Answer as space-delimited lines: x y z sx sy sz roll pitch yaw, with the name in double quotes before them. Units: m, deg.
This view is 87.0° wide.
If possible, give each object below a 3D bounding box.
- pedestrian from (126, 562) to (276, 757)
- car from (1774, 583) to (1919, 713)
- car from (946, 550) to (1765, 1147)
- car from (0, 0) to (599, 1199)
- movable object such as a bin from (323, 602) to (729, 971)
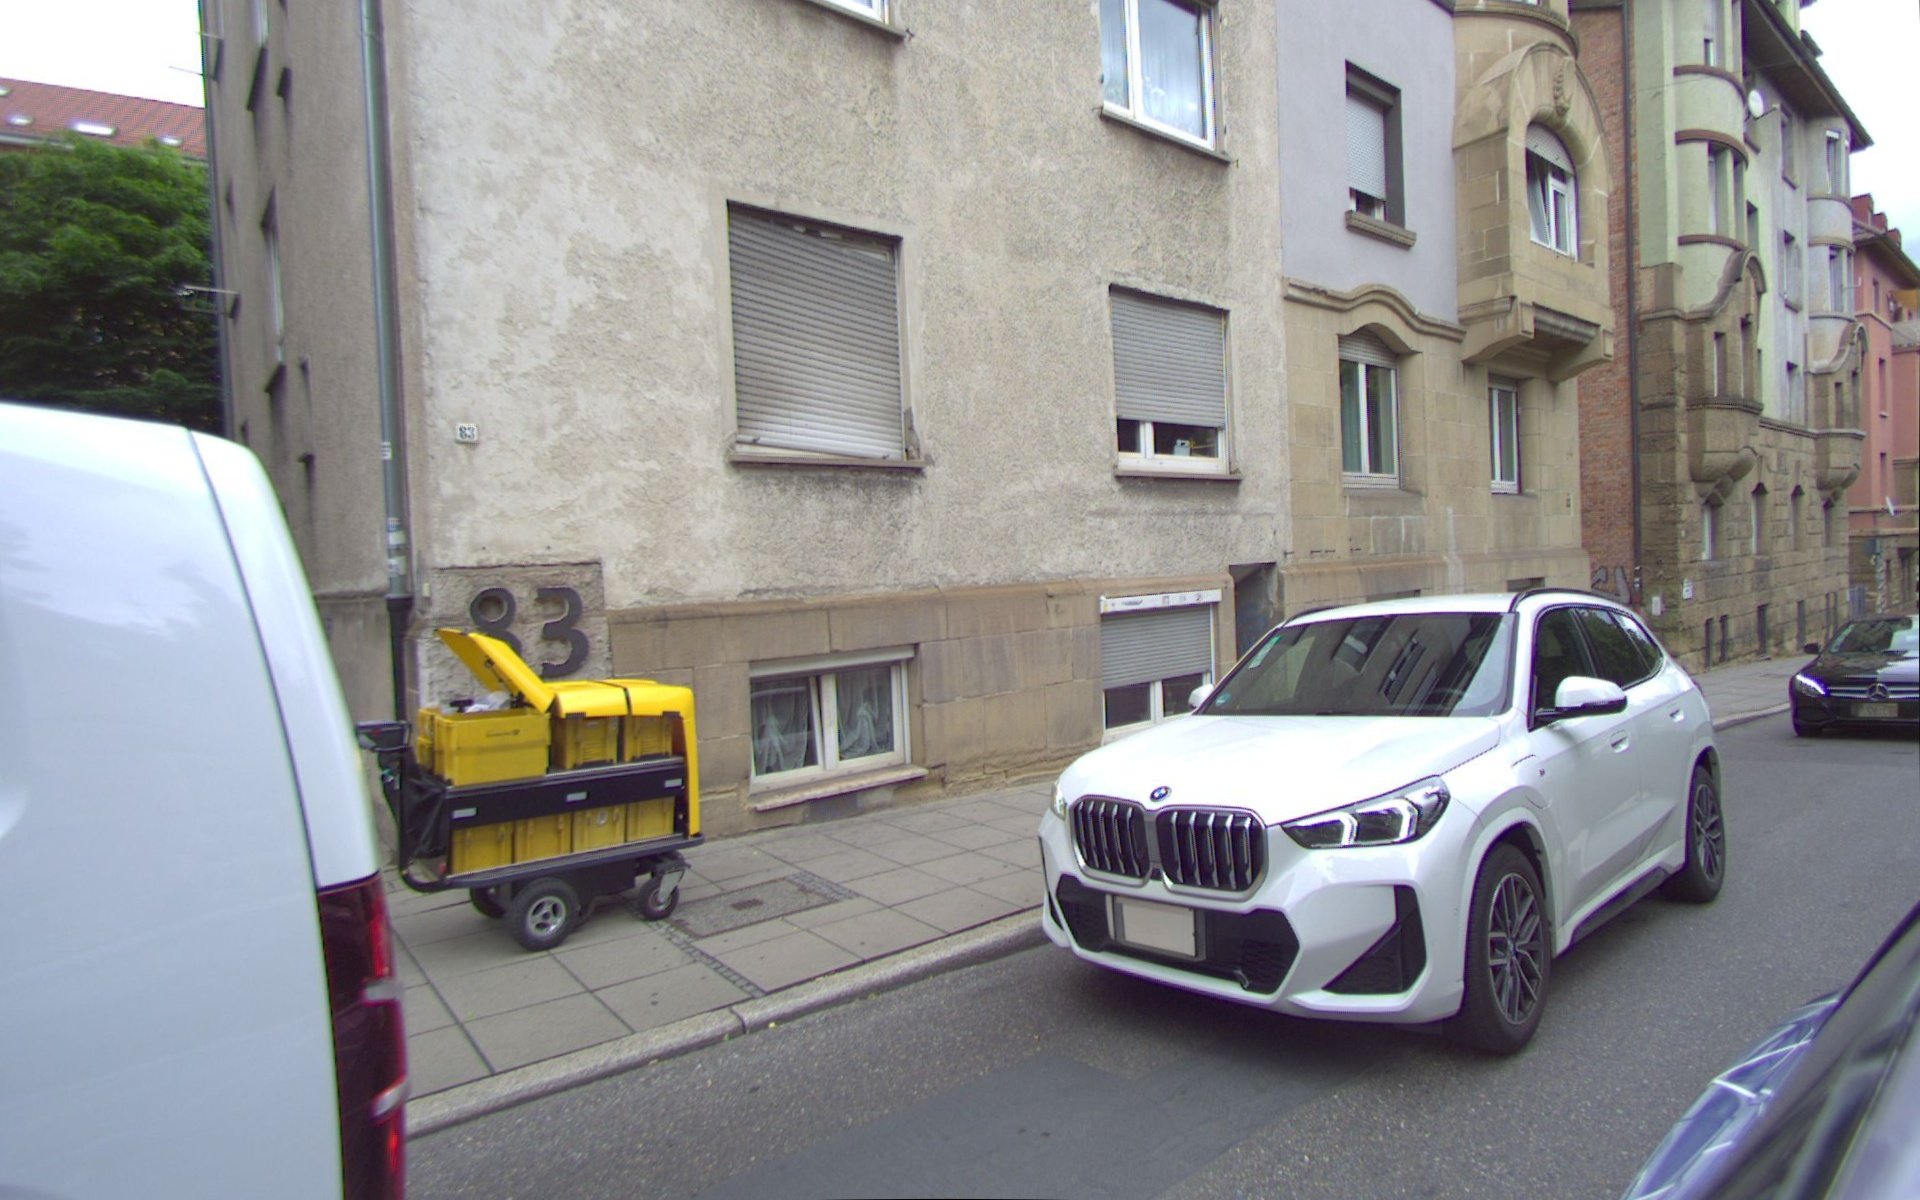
"pedestrian" -7.000 0.515 9.381 0.729 1.681 0.765 -3 3 -7
"car" 11.751 0.512 12.344 4.203 1.386 1.853 -1 -3 -38
"car" 2.250 0.708 4.974 4.484 1.625 1.851 0 -3 -42
"car" -2.893 0.504 0.317 4.928 1.848 1.855 -3 0 -36
"movable object such as a bin" -2.059 0.760 4.939 1.665 1.438 0.720 -2 2 -42
